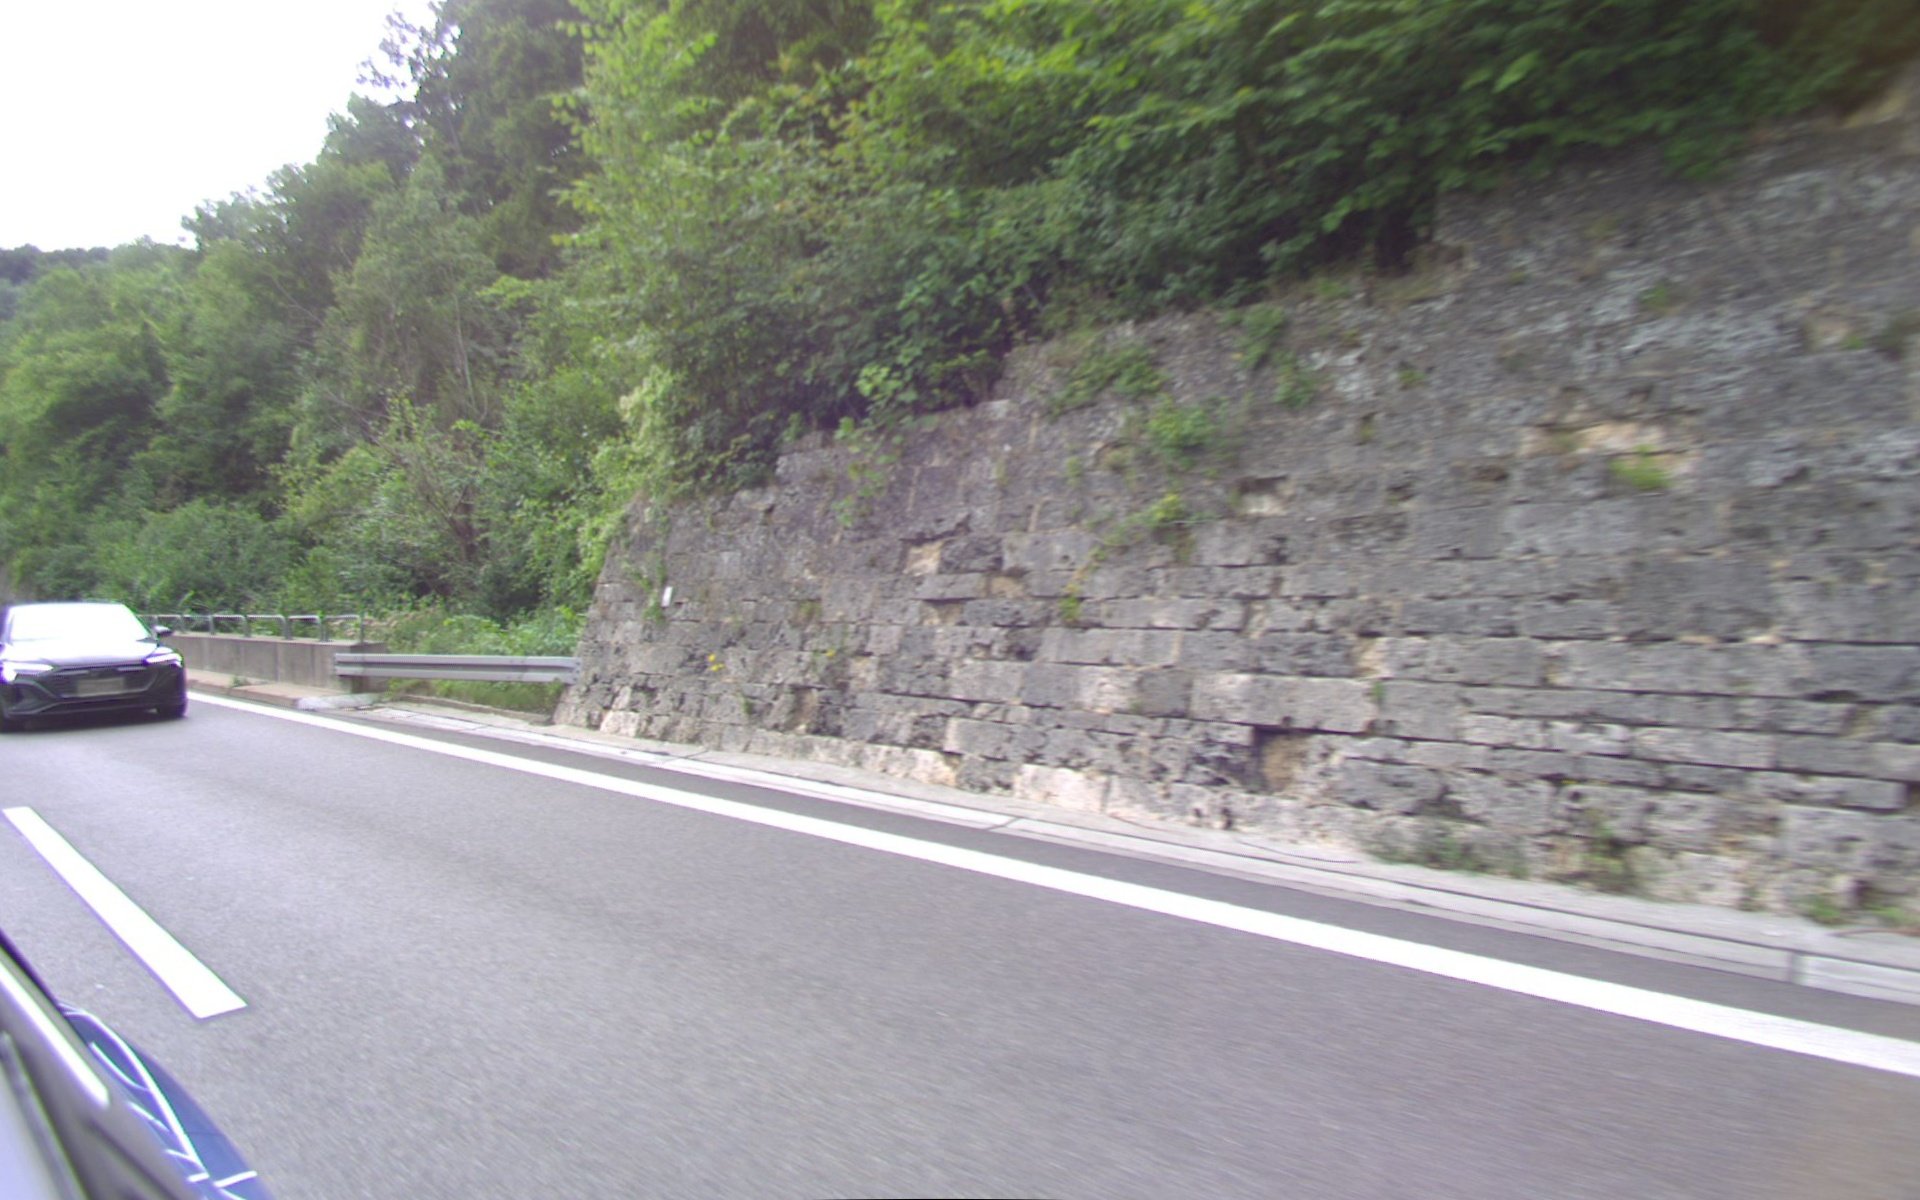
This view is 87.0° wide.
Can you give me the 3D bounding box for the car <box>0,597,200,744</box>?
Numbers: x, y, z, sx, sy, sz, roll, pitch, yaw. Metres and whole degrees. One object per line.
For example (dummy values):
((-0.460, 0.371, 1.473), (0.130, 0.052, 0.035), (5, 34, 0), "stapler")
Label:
((-12.565, 0.860, 14.212), (5.006, 1.644, 1.973), (-1, 2, 41), "car")
